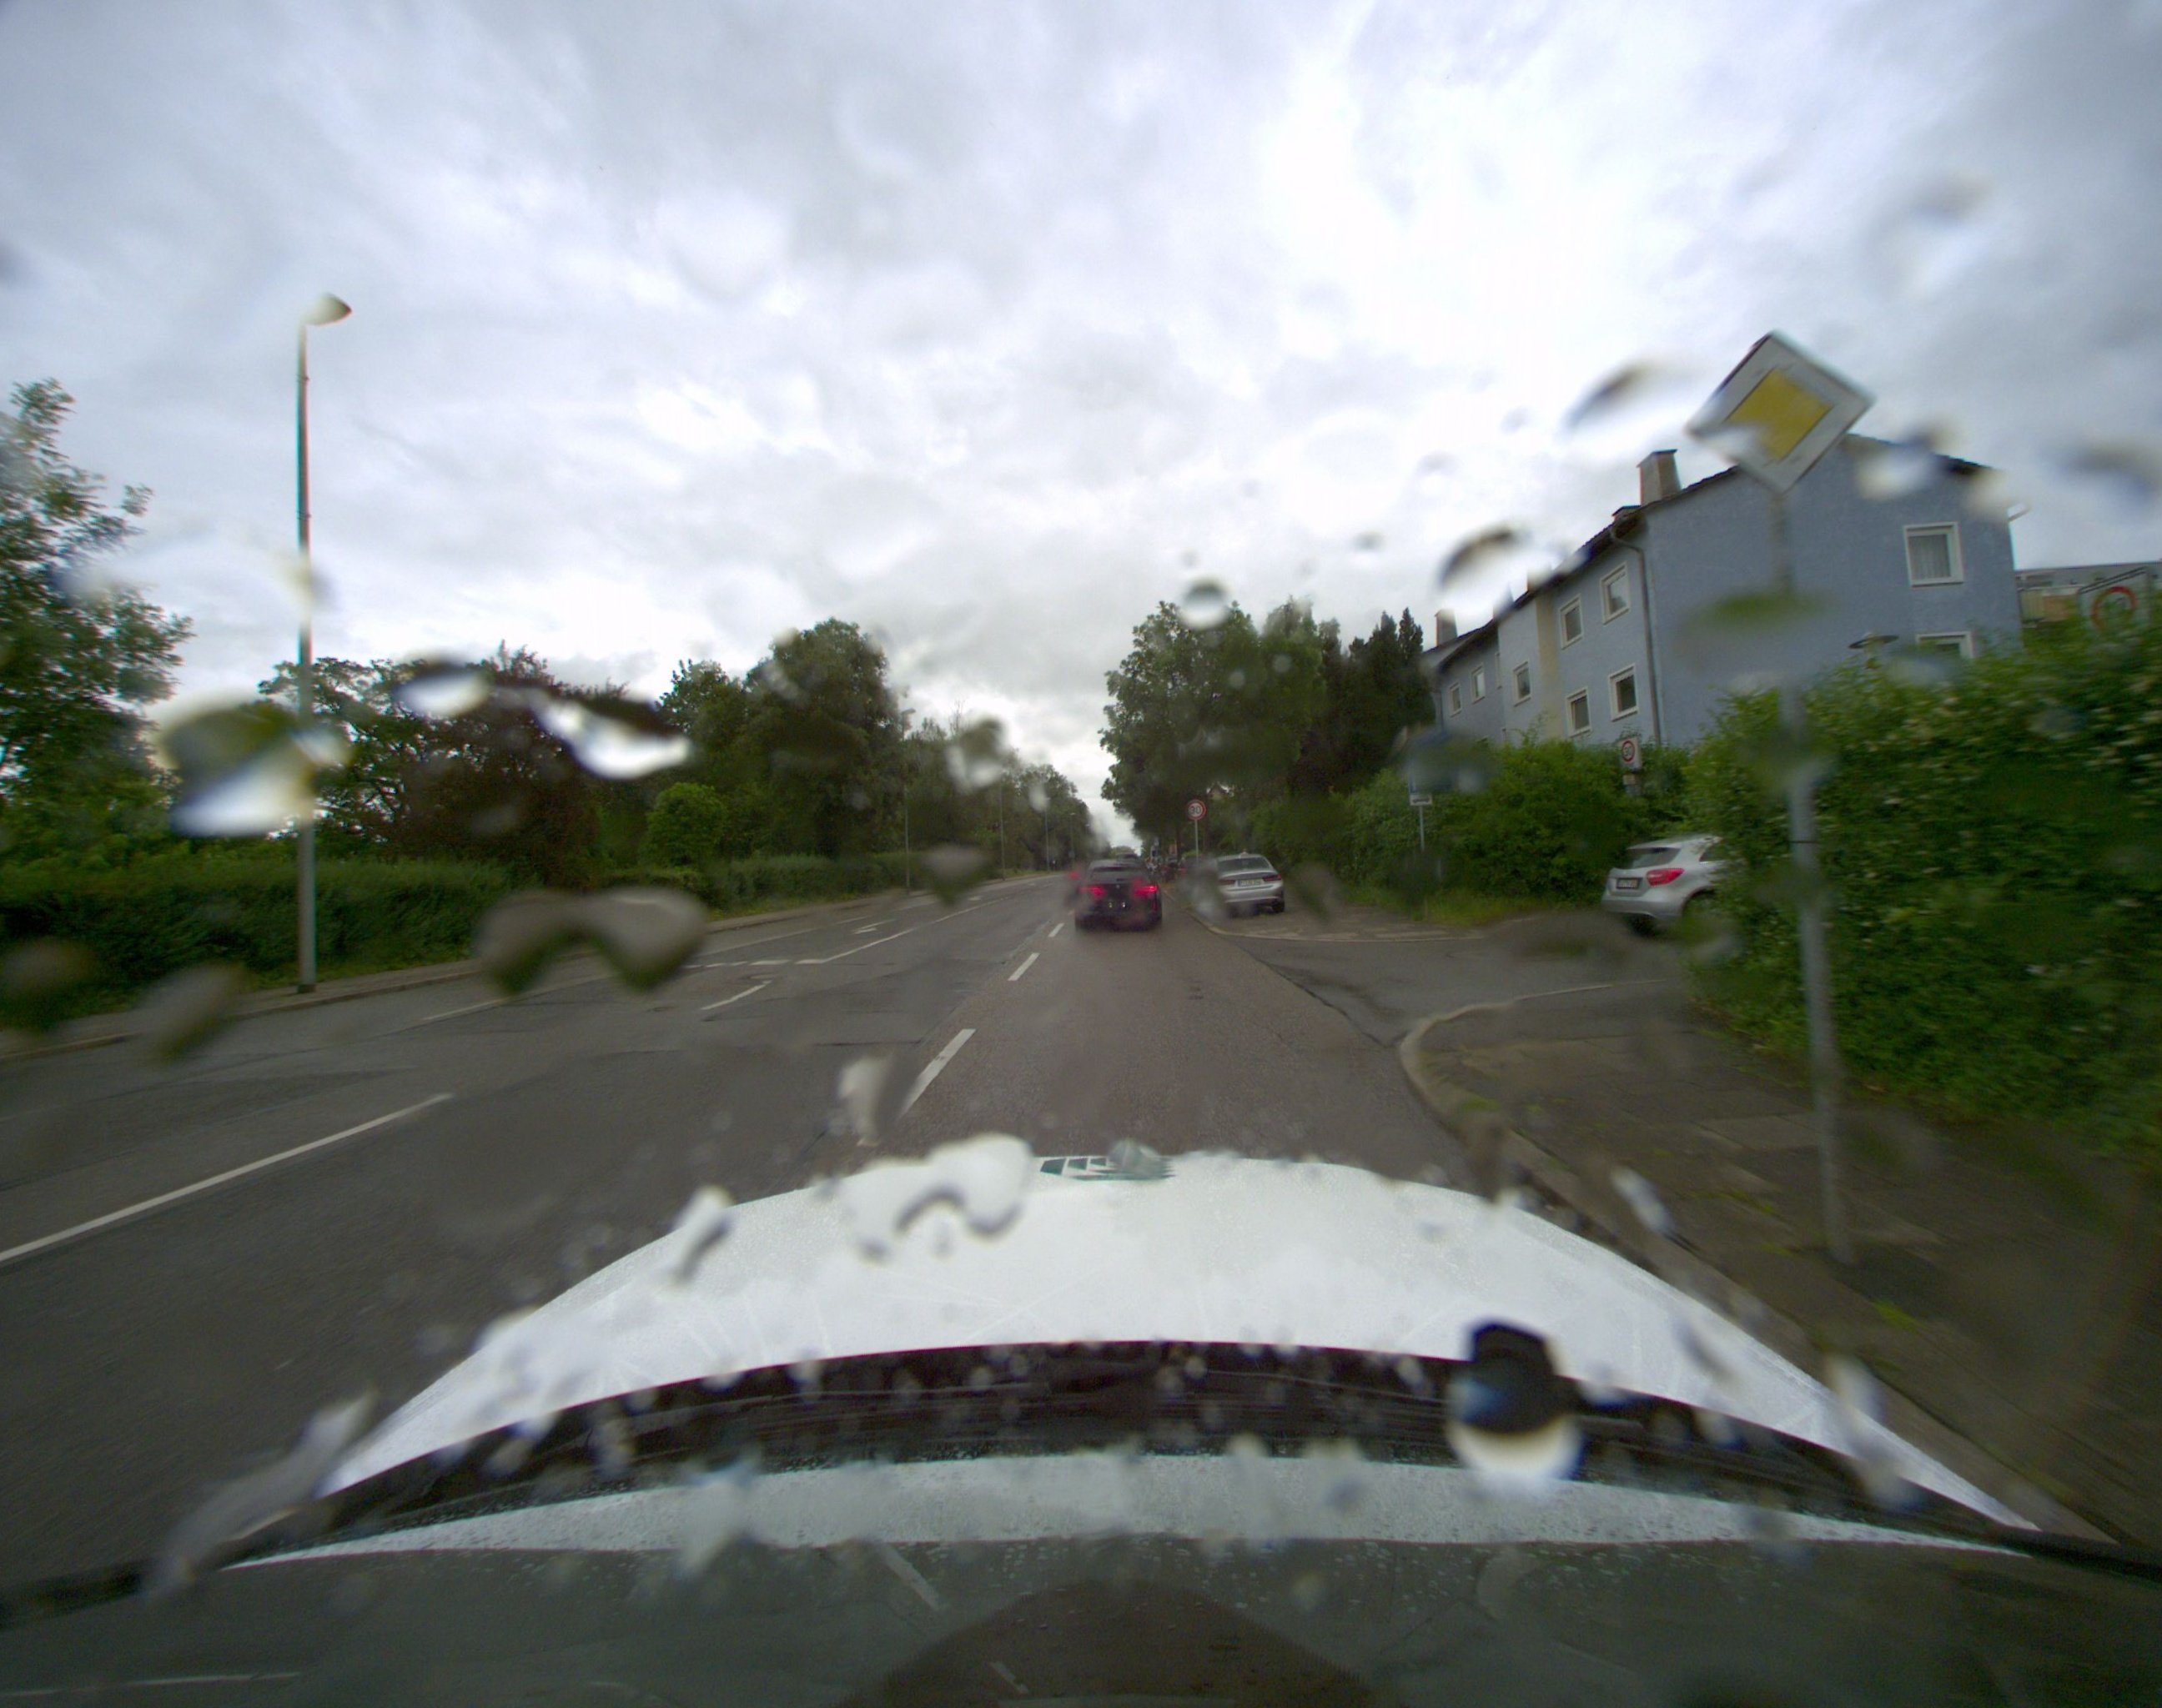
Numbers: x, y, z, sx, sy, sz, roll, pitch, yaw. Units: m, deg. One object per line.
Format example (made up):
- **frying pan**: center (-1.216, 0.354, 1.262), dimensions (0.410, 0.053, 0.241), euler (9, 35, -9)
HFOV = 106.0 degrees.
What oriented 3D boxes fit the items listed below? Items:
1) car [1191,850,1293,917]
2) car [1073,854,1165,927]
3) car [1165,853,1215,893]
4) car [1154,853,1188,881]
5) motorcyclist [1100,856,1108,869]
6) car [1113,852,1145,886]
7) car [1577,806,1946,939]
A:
- **car**: center (3.968, 0.678, 20.785), dimensions (1.927, 1.442, 4.412), euler (-3, 0, 4)
- **car**: center (0.863, 0.749, 18.701), dimensions (1.890, 1.489, 4.002), euler (0, 0, 2)
- **car**: center (4.343, 0.739, 32.910), dimensions (1.583, 1.460, 3.564), euler (-3, 0, 2)
- **car**: center (5.084, 0.703, 46.464), dimensions (1.583, 1.486, 3.564), euler (-3, 0, 2)
- **motorcyclist**: center (2.796, 0.986, 99.154), dimensions (1.036, 1.567, 0.855), euler (0, -1, 1)
- **car**: center (2.810, 0.829, 48.218), dimensions (1.623, 1.833, 4.001), euler (-3, 0, 1)
- **car**: center (10.047, 0.265, 12.285), dimensions (3.971, 1.488, 1.701), euler (-6, 0, 3)
